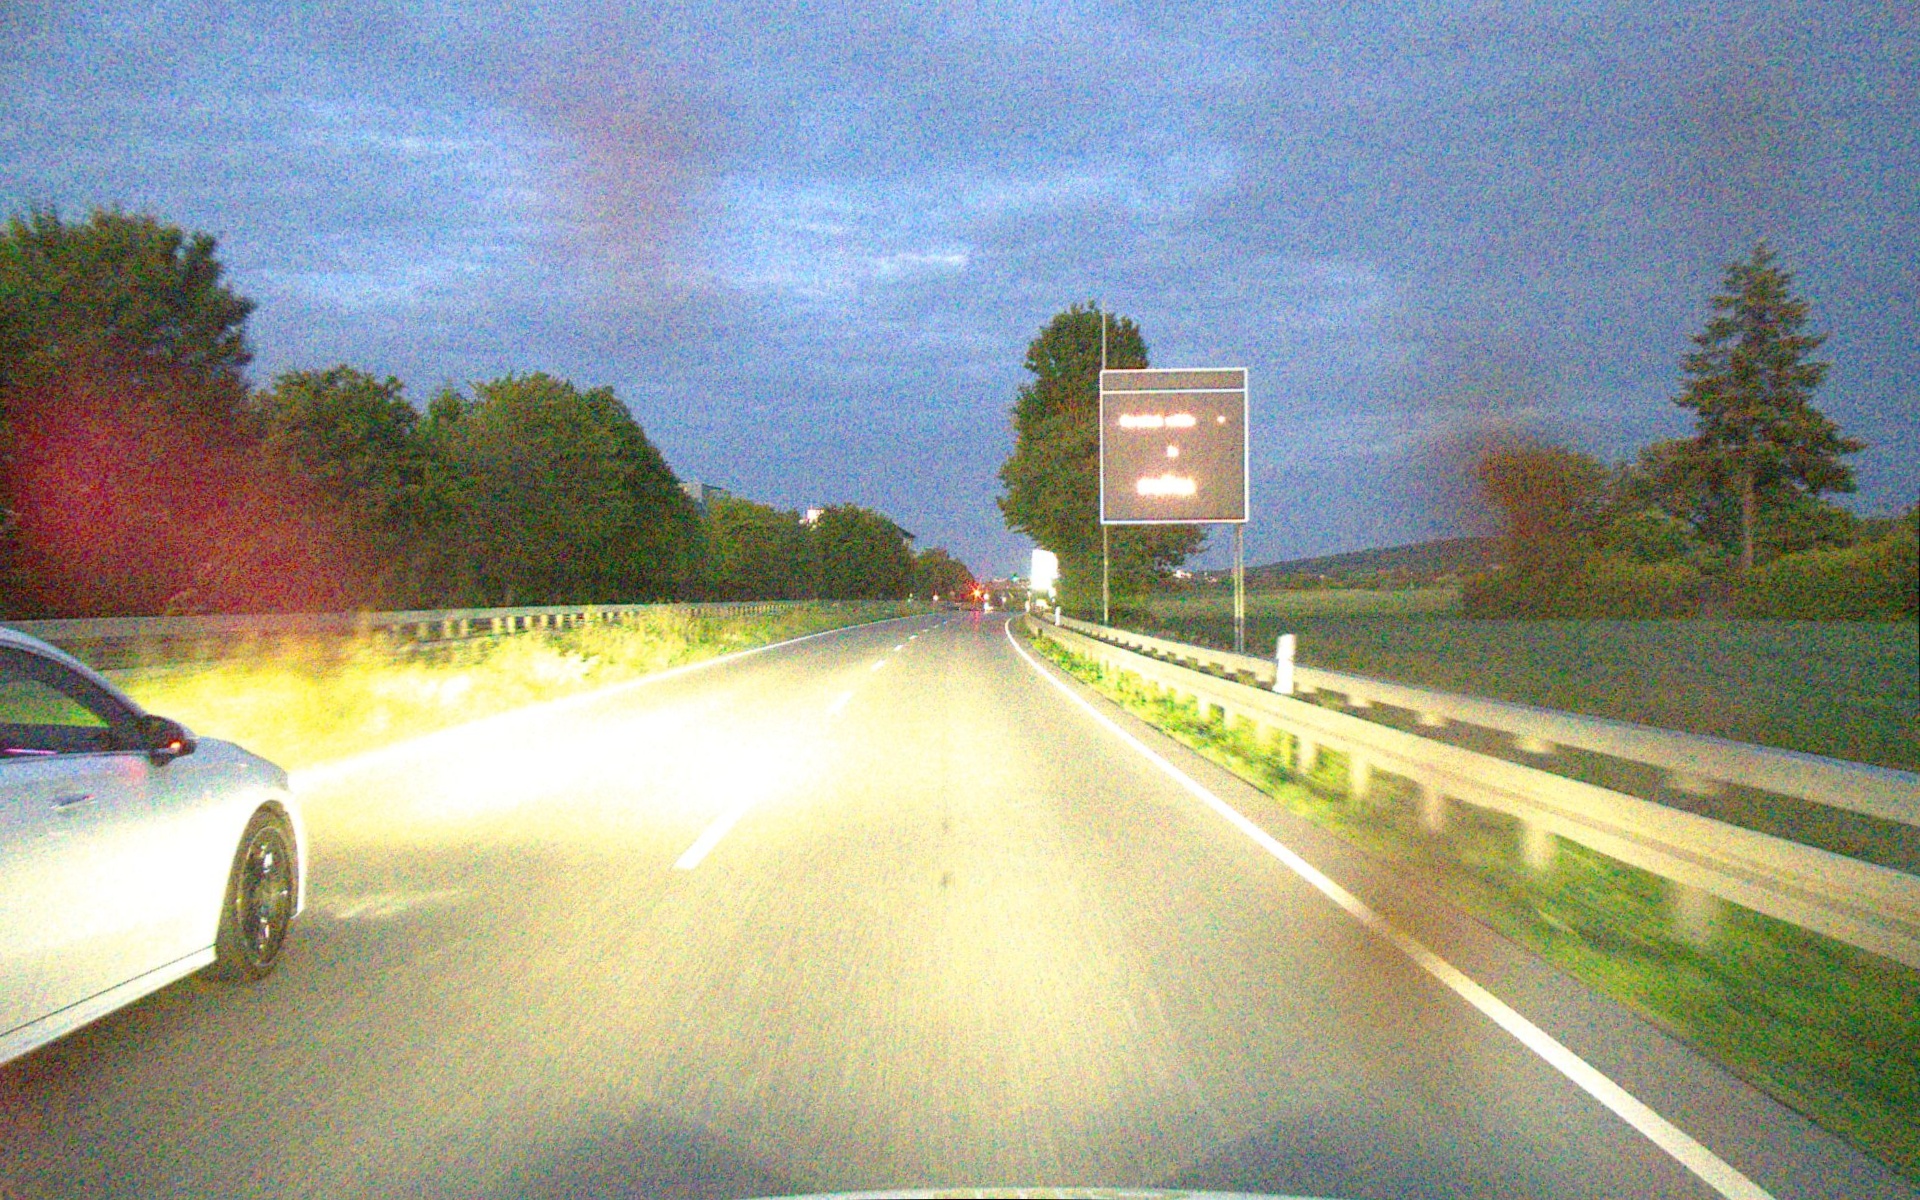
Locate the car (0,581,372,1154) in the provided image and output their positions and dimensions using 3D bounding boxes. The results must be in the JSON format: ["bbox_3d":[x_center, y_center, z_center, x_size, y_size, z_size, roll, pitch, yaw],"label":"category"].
[{"bbox_3d":[-3.349,0.696,4.961,1.608,1.516,4.578,1,0,-1],"label":"car"}]
